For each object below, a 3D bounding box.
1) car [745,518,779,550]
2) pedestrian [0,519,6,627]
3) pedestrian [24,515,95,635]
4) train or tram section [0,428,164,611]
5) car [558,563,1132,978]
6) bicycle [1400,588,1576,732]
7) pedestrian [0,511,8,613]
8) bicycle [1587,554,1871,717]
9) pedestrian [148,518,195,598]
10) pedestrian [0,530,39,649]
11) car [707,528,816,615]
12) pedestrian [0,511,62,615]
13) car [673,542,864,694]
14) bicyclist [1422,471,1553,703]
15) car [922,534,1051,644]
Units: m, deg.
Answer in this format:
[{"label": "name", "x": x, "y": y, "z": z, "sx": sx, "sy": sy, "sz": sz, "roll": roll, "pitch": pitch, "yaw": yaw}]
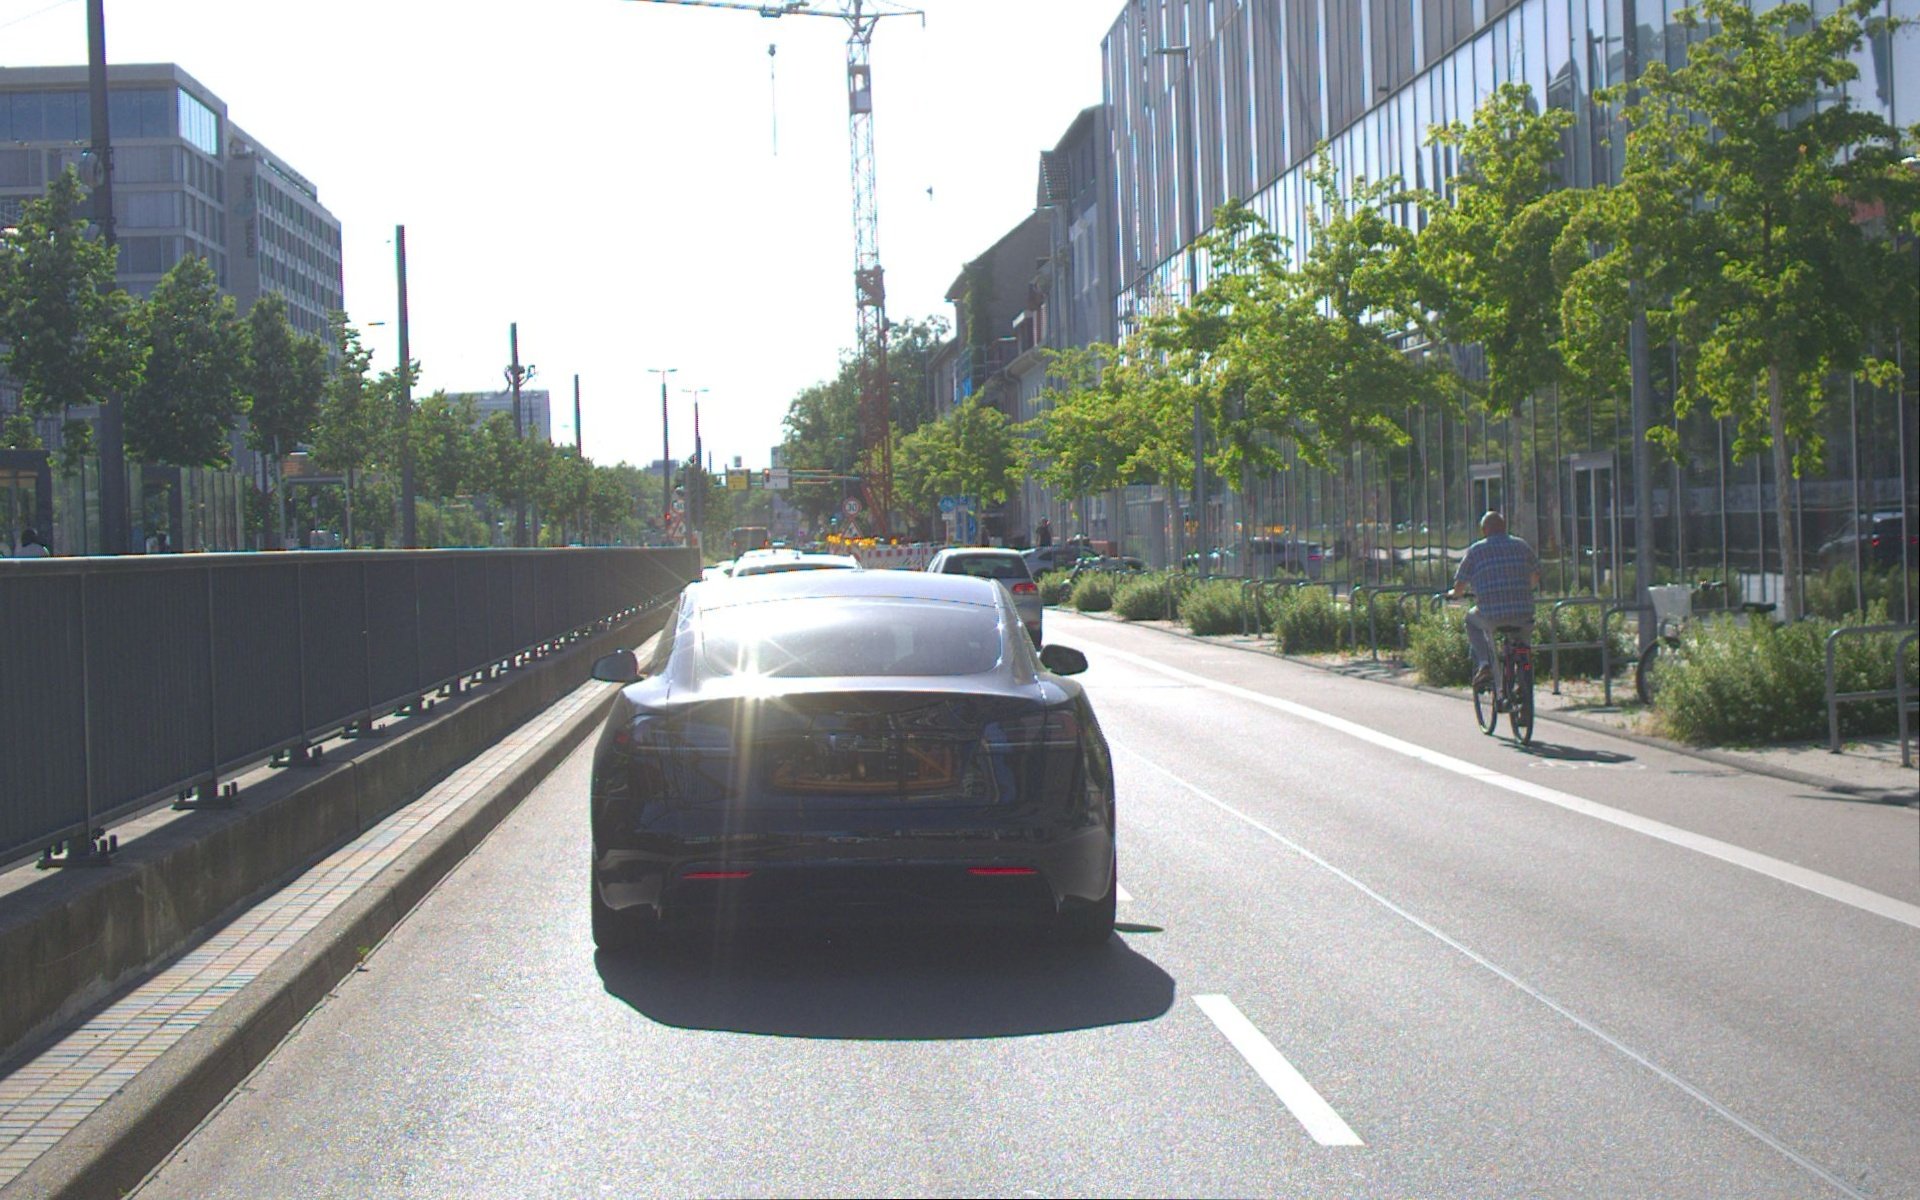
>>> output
[{"label": "car", "x": -11.601, "y": -3.885, "z": 201.702, "sx": 1.813, "sy": 1.803, "sz": 4.039, "roll": -1, "pitch": 2, "yaw": -1}, {"label": "pedestrian", "x": -14.701, "y": -0.391, "z": 51.149, "sx": 0.741, "sy": 1.623, "sz": 0.947, "roll": -1, "pitch": 1, "yaw": -2}, {"label": "pedestrian", "x": -12.501, "y": -0.351, "z": 47.759, "sx": 0.741, "sy": 1.623, "sz": 0.861, "roll": -1, "pitch": 1, "yaw": -2}, {"label": "train or tram section", "x": -18.837, "y": -1.559, "z": 66.433, "sx": 2.870, "sy": 3.268, "sz": 22.146, "roll": 0, "pitch": 1, "yaw": -3}, {"label": "car", "x": -0.419, "y": 0.573, "z": 14.246, "sx": 1.999, "sy": 1.429, "sz": 4.413, "roll": 0, "pitch": 1, "yaw": 0}, {"label": "bicycle", "x": 4.069, "y": 0.439, "z": 26.667, "sx": 0.728, "sy": 0.980, "sz": 2.334, "roll": -3, "pitch": 2, "yaw": -6}, {"label": "pedestrian", "x": -15.657, "y": -0.600, "z": 54.723, "sx": 0.741, "sy": 1.623, "sz": 0.861, "roll": -1, "pitch": 1, "yaw": -2}, {"label": "bicycle", "x": 6.244, "y": 0.278, "z": 27.999, "sx": 2.086, "sy": 1.201, "sz": 0.950, "roll": -3, "pitch": 1, "yaw": 4}, {"label": "pedestrian", "x": -16.166, "y": -0.868, "z": 70.476, "sx": 0.741, "sy": 1.623, "sz": 0.861, "roll": -1, "pitch": 1, "yaw": -2}, {"label": "pedestrian", "x": -13.284, "y": -0.146, "z": 47.700, "sx": 0.741, "sy": 1.623, "sz": 0.861, "roll": -1, "pitch": 1, "yaw": -2}, {"label": "car", "x": -3.904, "y": -0.596, "z": 68.186, "sx": 1.888, "sy": 1.590, "sz": 4.000, "roll": -2, "pitch": 2, "yaw": 0}, {"label": "pedestrian", "x": -14.794, "y": -0.593, "z": 54.721, "sx": 0.741, "sy": 1.623, "sz": 0.861, "roll": -1, "pitch": 1, "yaw": -2}, {"label": "car", "x": -1.813, "y": 0.132, "z": 33.405, "sx": 1.716, "sy": 1.315, "sz": 4.001, "roll": -1, "pitch": 2, "yaw": -2}, {"label": "bicyclist", "x": 4.057, "y": -0.108, "z": 26.499, "sx": 0.724, "sy": 1.731, "sz": 0.998, "roll": -2, "pitch": 1, "yaw": -6}, {"label": "car", "x": 0.365, "y": -0.200, "z": 52.002, "sx": 1.784, "sy": 1.540, "sz": 4.039, "roll": -1, "pitch": 2, "yaw": -1}]
